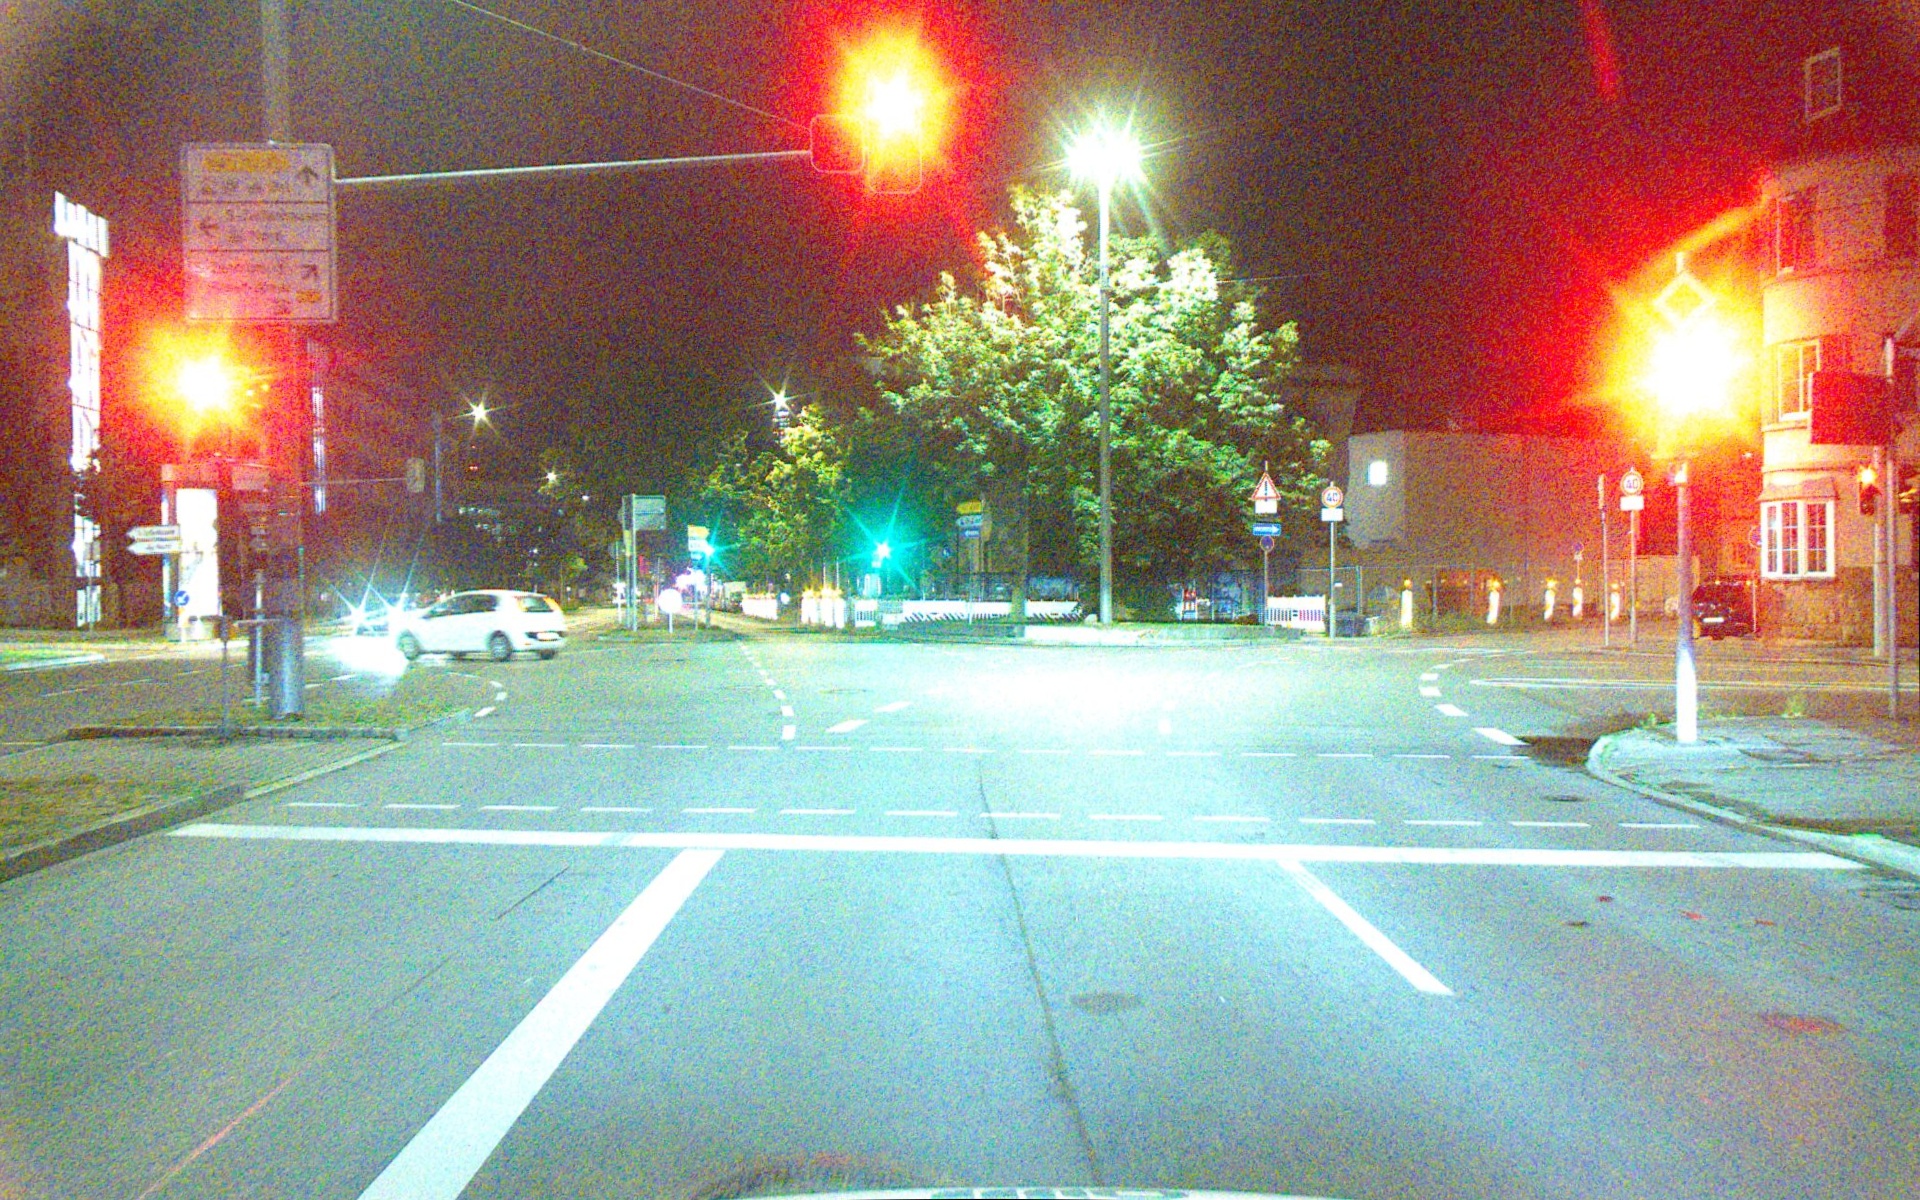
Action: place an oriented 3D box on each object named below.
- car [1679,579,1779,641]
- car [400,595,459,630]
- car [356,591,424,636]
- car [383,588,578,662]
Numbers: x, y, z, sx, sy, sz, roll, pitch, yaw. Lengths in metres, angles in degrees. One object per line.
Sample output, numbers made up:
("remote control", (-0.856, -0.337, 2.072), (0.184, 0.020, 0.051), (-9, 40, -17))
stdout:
("car", (21.536, 0.275, 46.262), (1.701, 1.640, 3.605), (-1, -1, 39))
("car", (-21.503, 0.506, 67.141), (1.725, 1.345, 3.540), (0, 0, -9))
("car", (-20.552, 0.485, 59.740), (1.585, 1.541, 3.992), (0, 0, -8))
("car", (-10.314, 0.533, 35.540), (3.908, 1.517, 1.707), (-1, 0, 26))
